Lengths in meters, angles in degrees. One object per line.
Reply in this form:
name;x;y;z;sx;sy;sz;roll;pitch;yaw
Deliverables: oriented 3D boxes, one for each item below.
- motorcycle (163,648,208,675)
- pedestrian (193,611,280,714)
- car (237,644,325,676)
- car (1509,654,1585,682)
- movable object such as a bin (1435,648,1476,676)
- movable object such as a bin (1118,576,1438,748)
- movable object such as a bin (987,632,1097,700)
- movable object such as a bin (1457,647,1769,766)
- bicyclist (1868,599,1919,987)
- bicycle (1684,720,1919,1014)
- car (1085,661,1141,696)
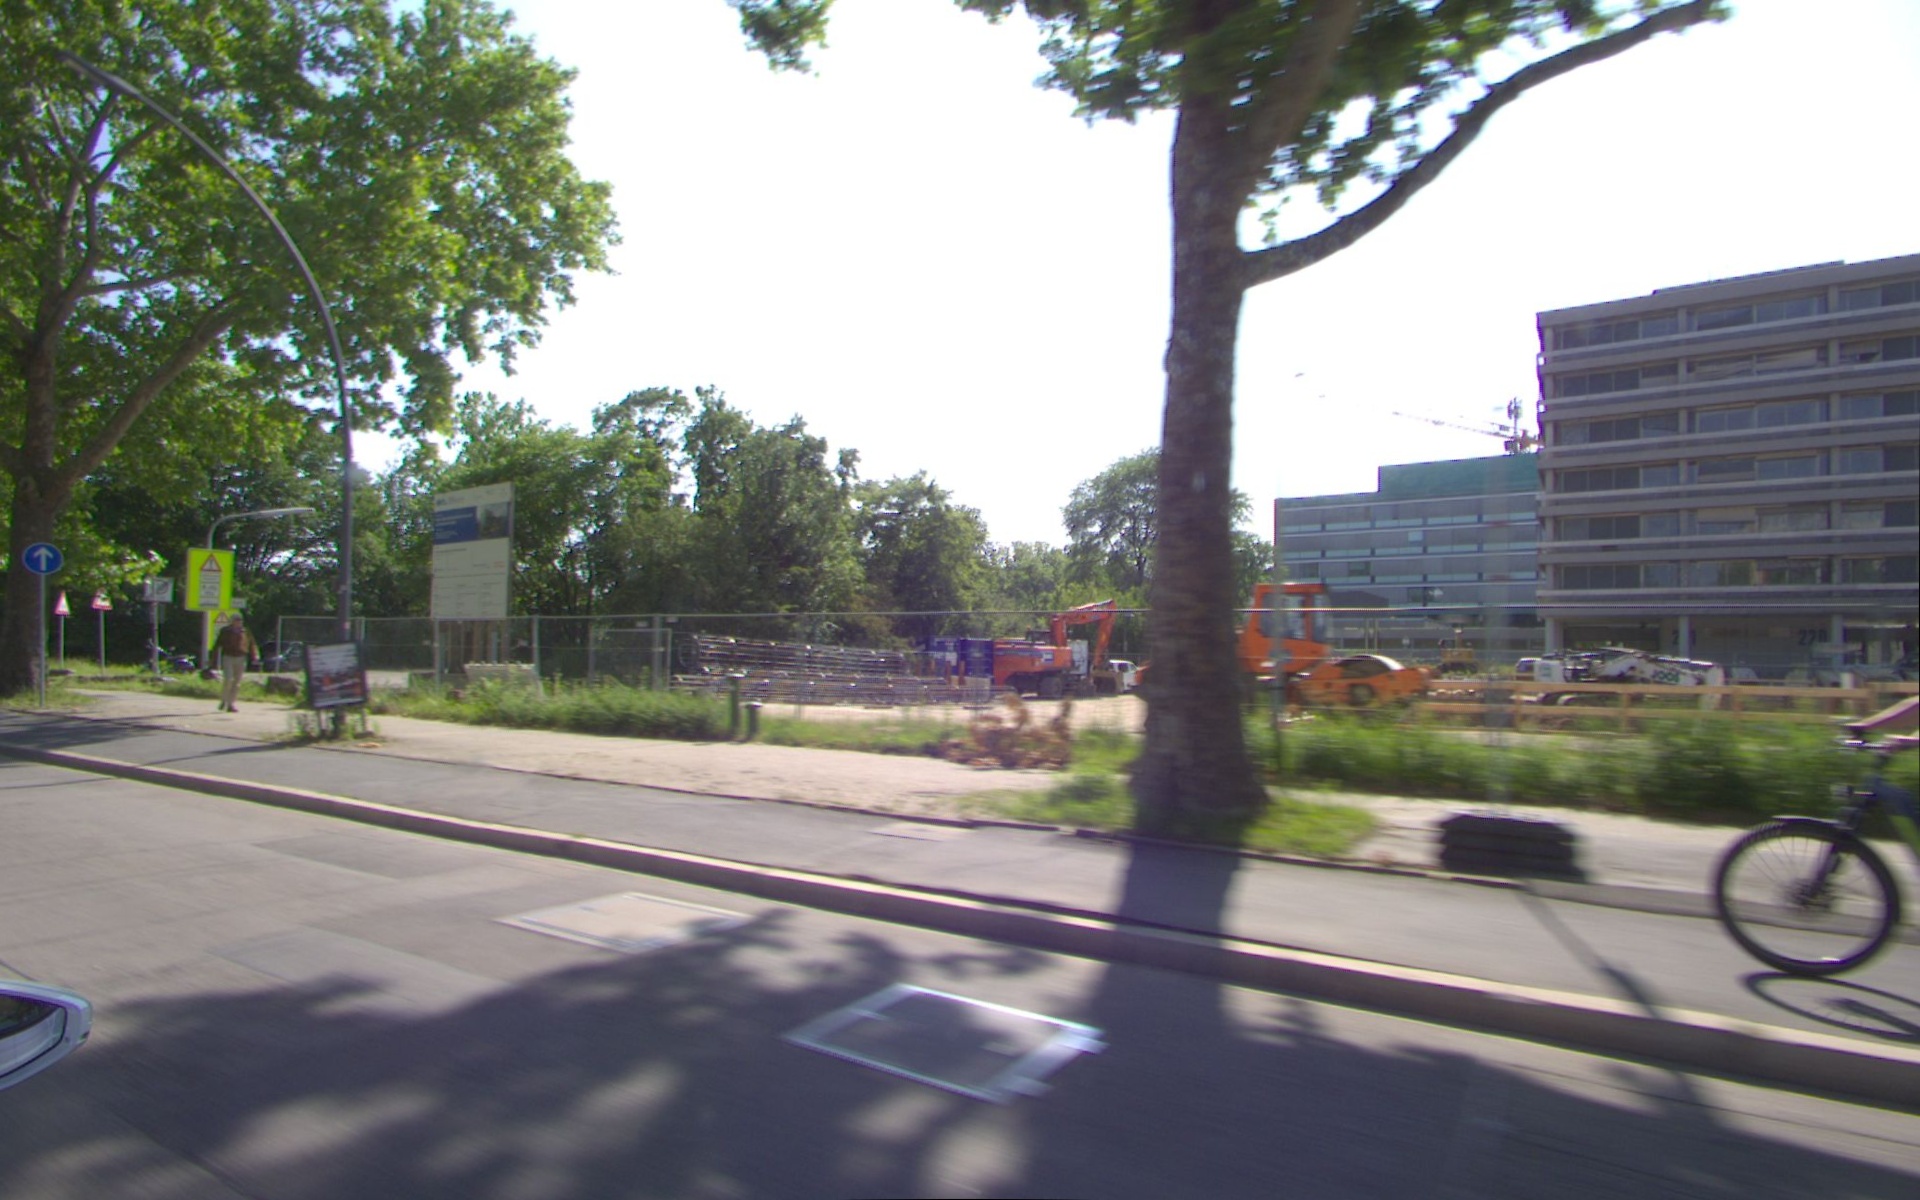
motorcycle;-28.977;2.305;37.476;0.463;0.979;1.220;0;-3;25
pedestrian;-13.962;1.197;19.326;1.135;1.916;0.937;0;-3;32
car;-33.547;2.965;49.603;1.651;1.472;4.003;1;-3;-2
car;39.928;4.604;68.160;4.373;1.794;1.788;-1;-3;34
movable object such as a bin;37.765;4.733;76.289;2.629;2.039;2.749;-1;-3;30
movable object such as a bin;6.471;1.205;20.537;5.894;3.109;2.369;0;-3;29
movable object such as a bin;3.993;3.141;47.903;3.247;3.012;5.171;-1;-4;32
movable object such as a bin;32.198;5.111;50.529;6.637;5.239;11.766;2;-3;-15
bicyclist;4.459;0.812;4.292;0.721;1.621;0.619;0;0;30
bicycle;4.363;1.161;4.344;1.917;1.144;0.650;-1;-1;32
car;8.433;4.295;54.911;1.787;1.788;3.510;-1;-4;32
